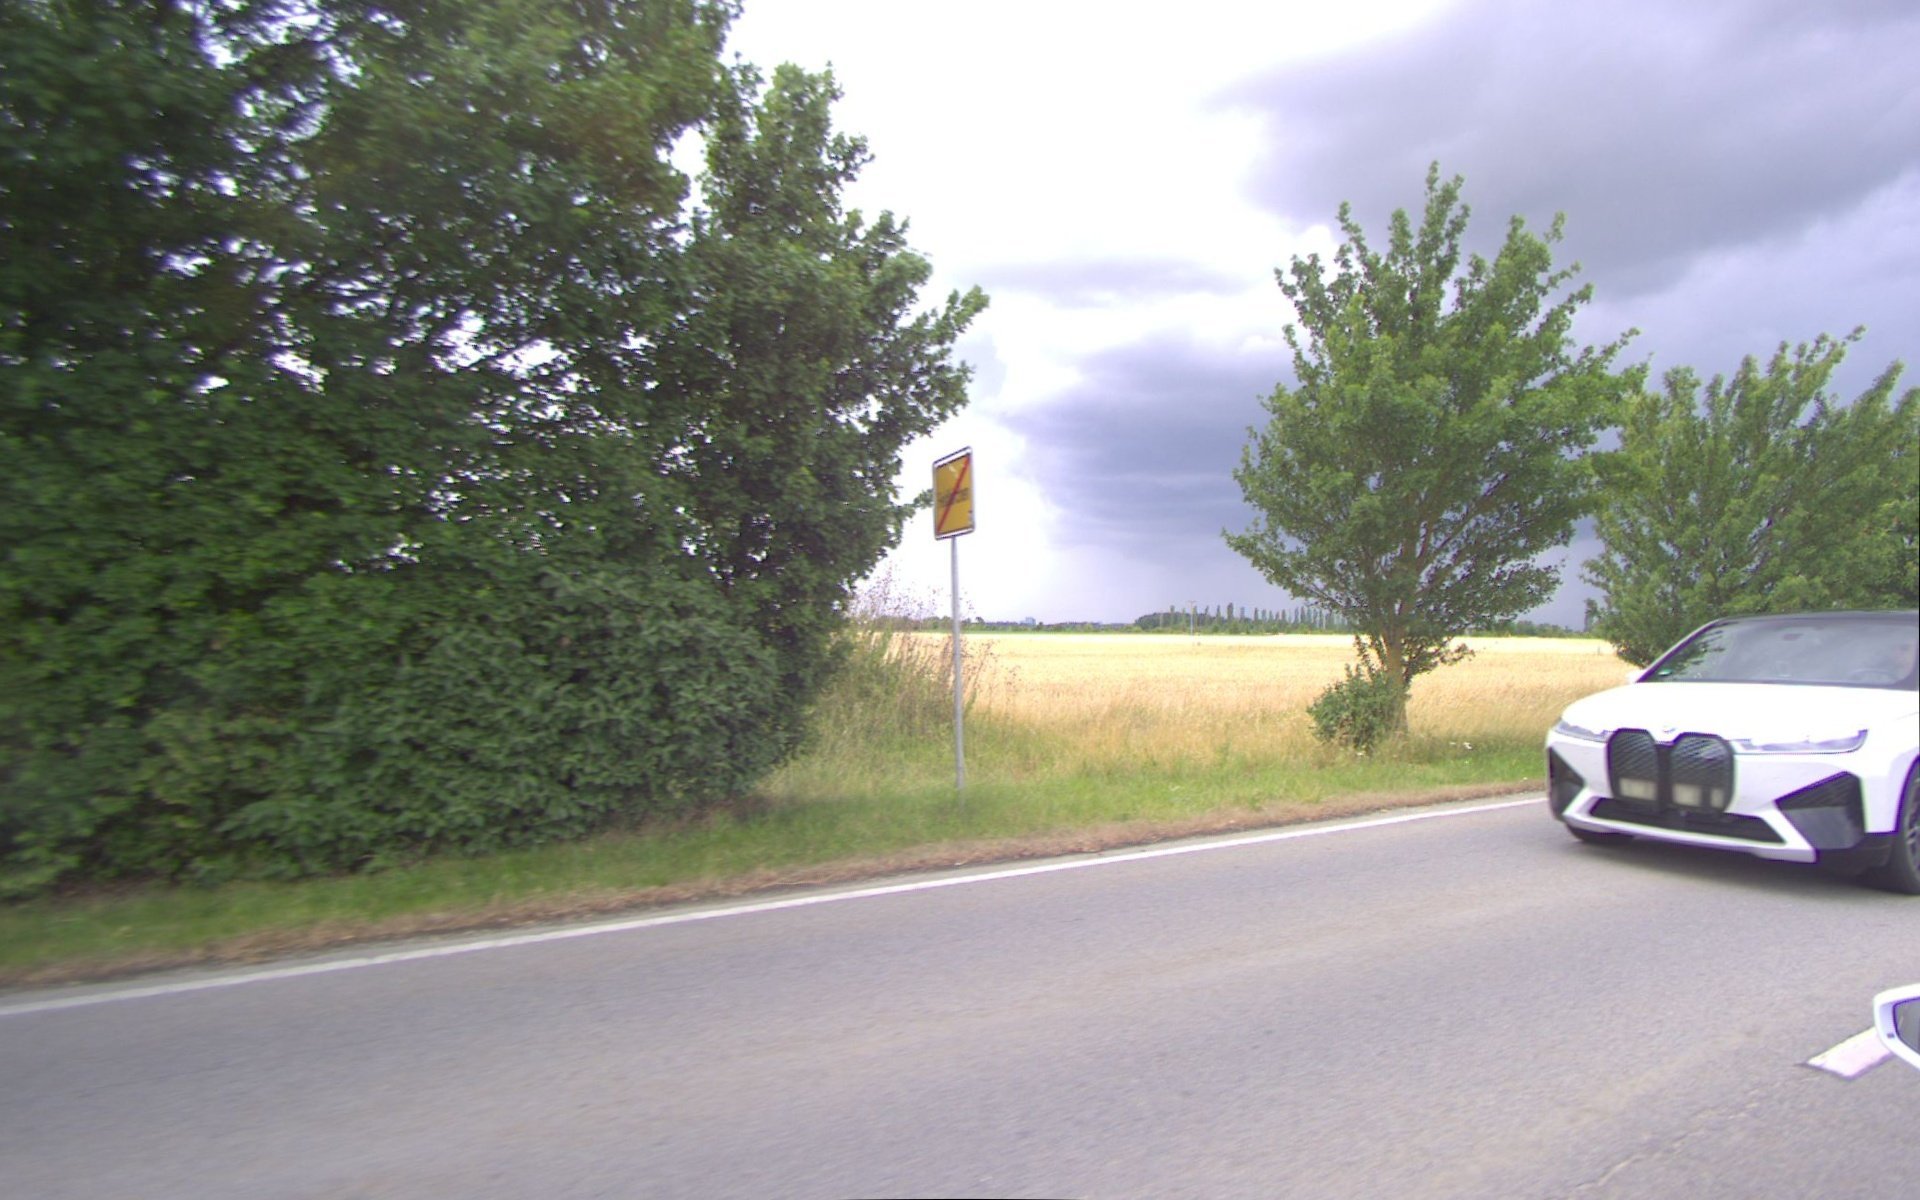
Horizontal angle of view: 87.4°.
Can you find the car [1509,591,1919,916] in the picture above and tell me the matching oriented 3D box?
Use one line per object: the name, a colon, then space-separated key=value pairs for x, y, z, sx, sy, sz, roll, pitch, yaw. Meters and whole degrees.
car: x=6.375 y=0.879 z=7.358 sx=4.753 sy=1.706 sz=1.984 roll=1 pitch=-2 yaw=-30
